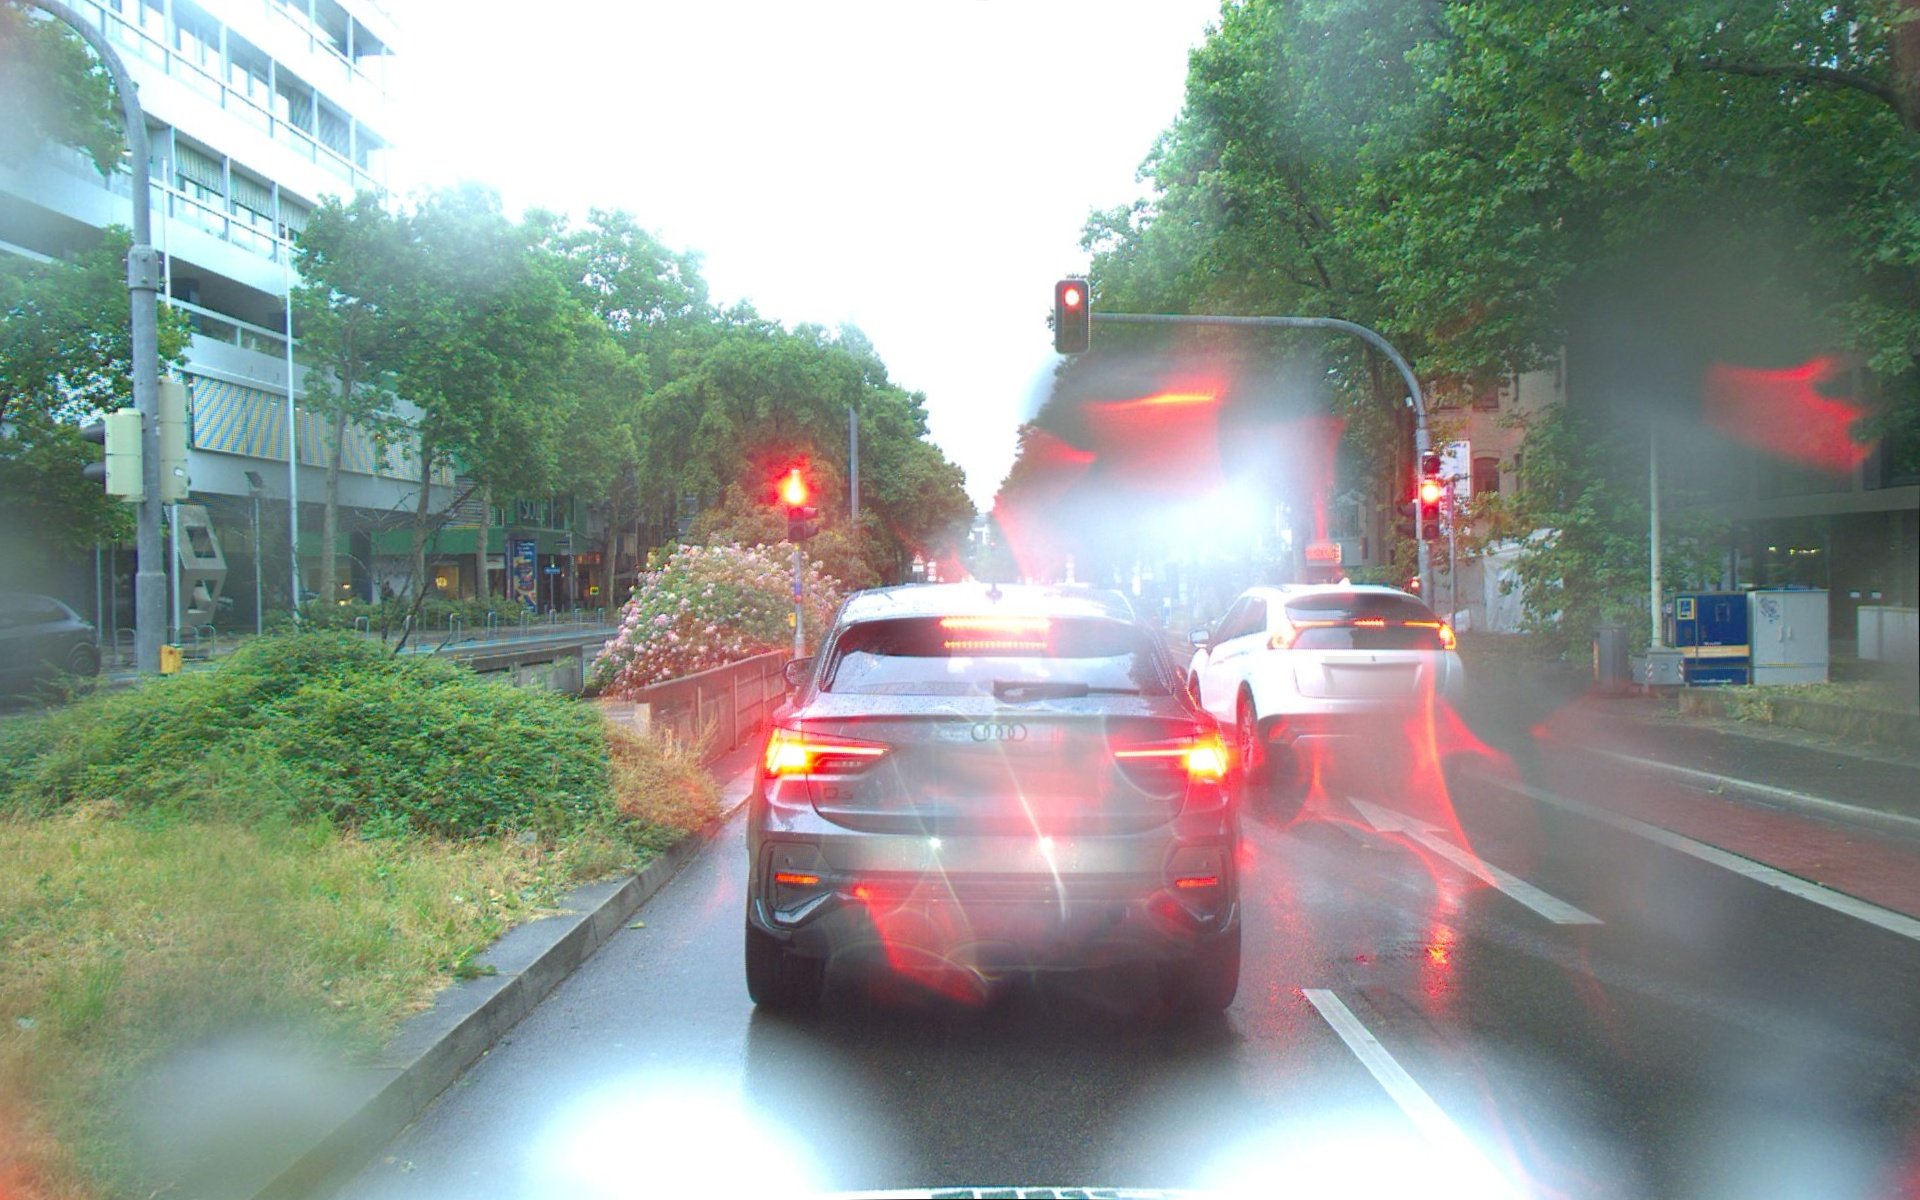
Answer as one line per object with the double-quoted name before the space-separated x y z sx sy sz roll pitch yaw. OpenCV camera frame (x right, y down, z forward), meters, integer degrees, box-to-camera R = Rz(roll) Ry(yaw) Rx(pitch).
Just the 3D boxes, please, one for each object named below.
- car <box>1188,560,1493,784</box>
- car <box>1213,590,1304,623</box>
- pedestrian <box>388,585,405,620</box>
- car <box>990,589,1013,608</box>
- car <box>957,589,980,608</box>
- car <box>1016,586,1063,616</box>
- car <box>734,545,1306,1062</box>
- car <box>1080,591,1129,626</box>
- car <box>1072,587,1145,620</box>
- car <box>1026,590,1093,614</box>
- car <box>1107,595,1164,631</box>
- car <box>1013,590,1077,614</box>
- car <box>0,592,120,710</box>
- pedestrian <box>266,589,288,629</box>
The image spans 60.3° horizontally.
"car" 3.268 0.582 15.003 1.839 1.727 4.000 1 0 0
"car" 10.583 0.229 58.645 2.831 1.093 1.452 1 -1 31
"pedestrian" -24.499 0.109 71.856 0.599 1.508 0.573 1 -1 -12
"car" 3.688 -0.122 146.600 1.952 1.680 4.000 1 0 0
"car" 0.683 -0.120 140.835 1.857 1.627 3.938 1 0 -1
"car" 4.890 0.068 102.384 1.959 1.757 3.988 1 0 -12
"car" 0.163 0.642 7.243 1.812 1.630 3.999 0 0 -1
"car" 6.920 0.422 79.422 1.693 1.599 4.070 1 0 -4
"car" 9.793 0.221 109.222 4.519 2.049 1.959 1 -1 39
"car" 7.399 0.157 123.264 4.549 1.736 1.997 1 -1 28
"car" 7.235 0.529 68.634 1.835 1.446 4.611 1 0 0
"car" 6.568 0.158 128.280 4.549 1.736 1.997 1 -1 28
"car" -14.060 0.688 23.195 1.869 1.612 4.748 1 0 4
"pedestrian" -24.265 0.309 58.758 0.626 1.404 0.473 1 -1 -12
